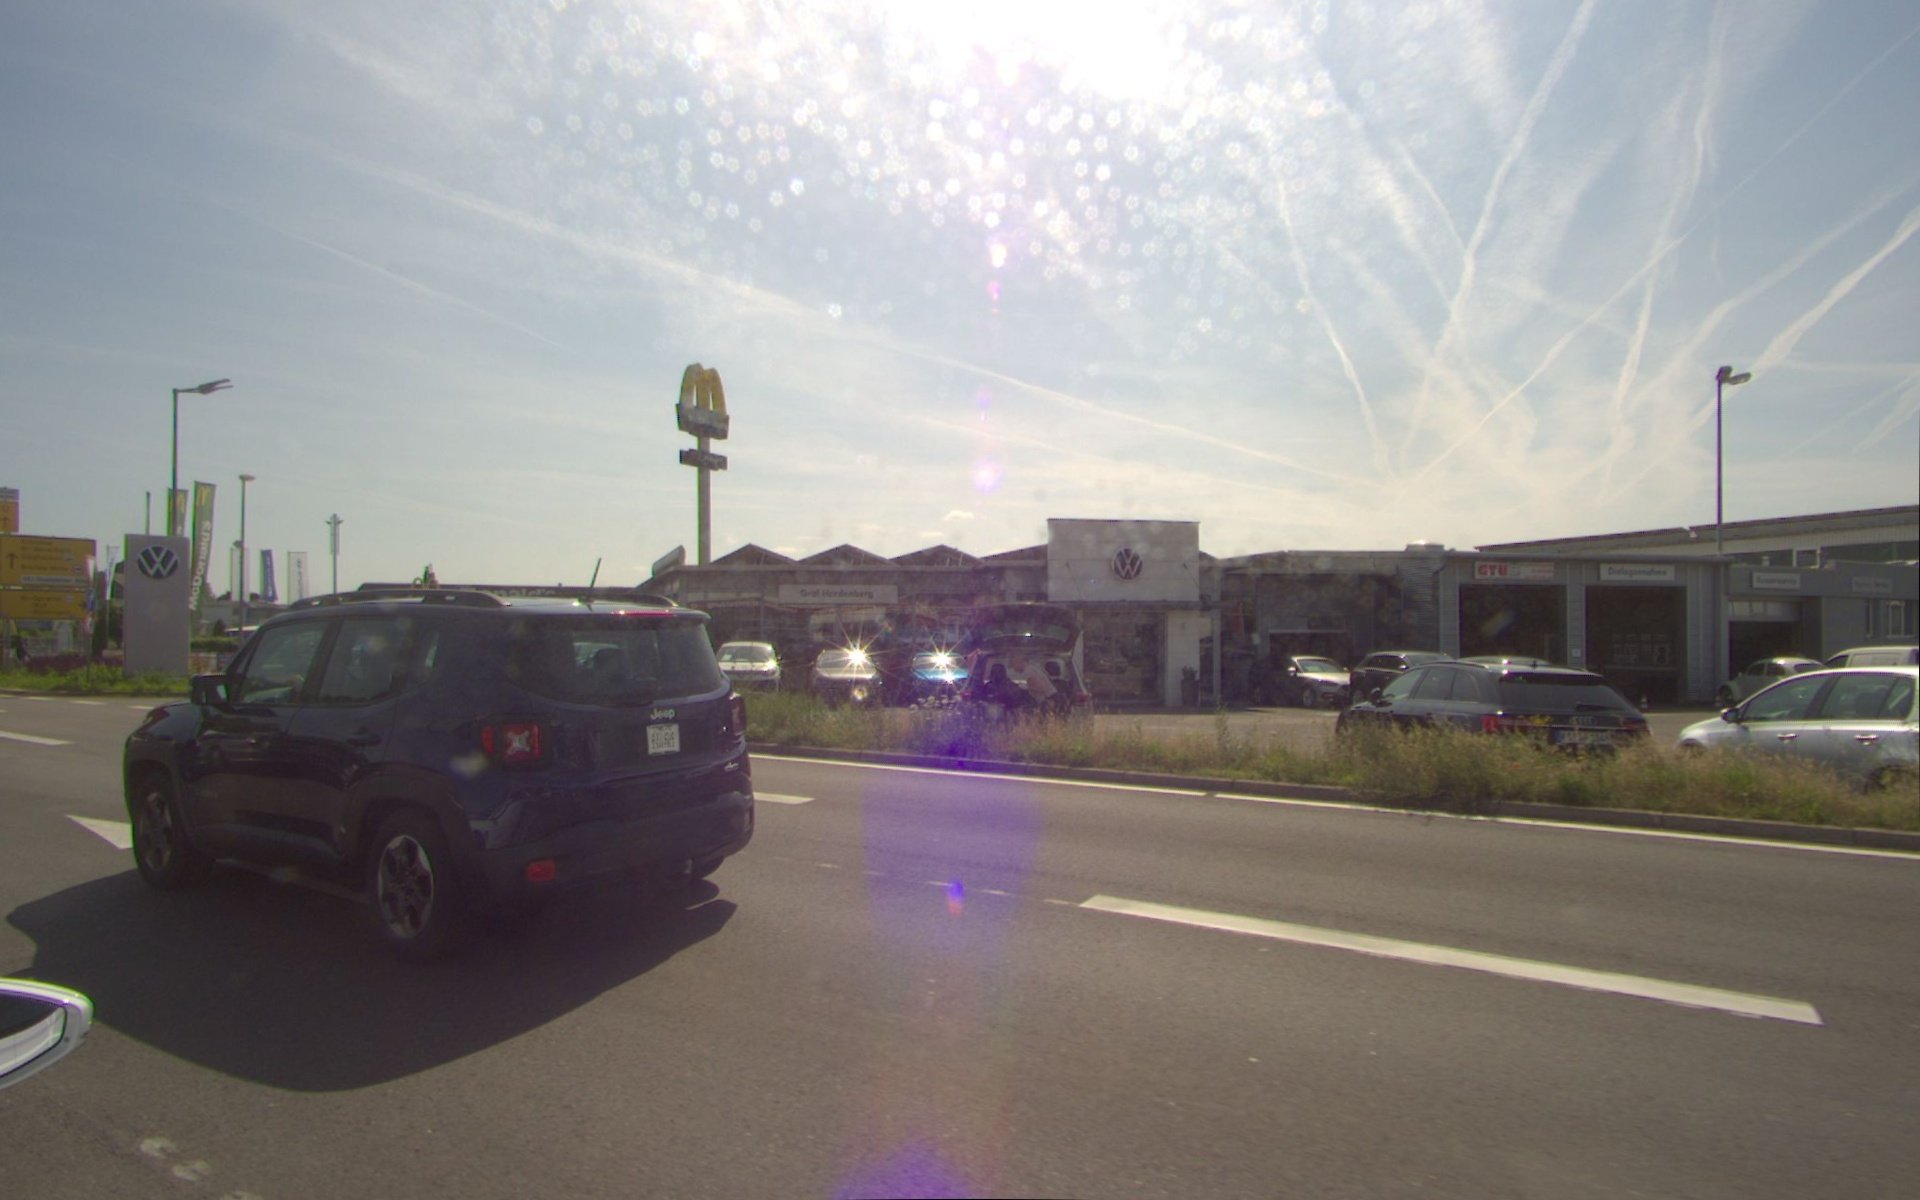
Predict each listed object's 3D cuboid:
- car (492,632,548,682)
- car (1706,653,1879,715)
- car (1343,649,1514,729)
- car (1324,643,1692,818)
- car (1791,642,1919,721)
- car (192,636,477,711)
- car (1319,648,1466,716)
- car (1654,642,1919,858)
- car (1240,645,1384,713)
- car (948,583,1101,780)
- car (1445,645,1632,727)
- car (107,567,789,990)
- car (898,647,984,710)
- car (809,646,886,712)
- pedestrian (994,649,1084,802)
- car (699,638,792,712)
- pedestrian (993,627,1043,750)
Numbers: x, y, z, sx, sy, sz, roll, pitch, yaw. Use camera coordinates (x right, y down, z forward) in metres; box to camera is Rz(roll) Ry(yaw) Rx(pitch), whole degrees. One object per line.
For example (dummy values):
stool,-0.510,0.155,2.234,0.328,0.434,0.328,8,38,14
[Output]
car,-16.286,2.069,37.184,1.747,1.692,4.158,0,-1,-22
car,23.725,2.354,28.758,1.741,1.511,4.077,0,-1,4
car,11.086,2.059,24.032,1.662,1.629,4.075,1,-1,-10
car,5.735,1.271,11.215,1.741,1.471,4.344,0,-1,0
car,26.458,2.253,28.691,1.741,1.974,4.538,0,-1,4
car,-13.255,1.635,21.563,4.729,1.347,1.967,3,-6,-13
car,12.344,2.303,28.911,1.744,1.676,4.166,0,-1,-14
car,8.327,1.218,8.946,1.679,1.579,4.000,0,-1,4
car,10.011,2.204,28.877,1.744,1.676,4.545,0,-1,-14
car,0.832,0.969,13.564,1.729,2.241,4.350,0,-1,3
car,13.773,1.981,24.138,1.742,1.676,4.075,0,-1,-9
car,-3.062,0.747,5.784,3.943,1.676,1.767,-1,-1,32
car,-0.594,2.043,26.943,1.789,1.428,4.112,0,-1,-8
car,-3.043,2.009,26.442,1.858,1.476,4.210,0,-1,-8
pedestrian,0.857,1.359,11.096,0.920,1.605,0.758,0,0,-1
car,-5.512,1.886,26.174,1.884,1.692,4.000,0,-1,-5
pedestrian,0.933,1.411,16.312,0.729,1.936,0.989,0,0,-2
